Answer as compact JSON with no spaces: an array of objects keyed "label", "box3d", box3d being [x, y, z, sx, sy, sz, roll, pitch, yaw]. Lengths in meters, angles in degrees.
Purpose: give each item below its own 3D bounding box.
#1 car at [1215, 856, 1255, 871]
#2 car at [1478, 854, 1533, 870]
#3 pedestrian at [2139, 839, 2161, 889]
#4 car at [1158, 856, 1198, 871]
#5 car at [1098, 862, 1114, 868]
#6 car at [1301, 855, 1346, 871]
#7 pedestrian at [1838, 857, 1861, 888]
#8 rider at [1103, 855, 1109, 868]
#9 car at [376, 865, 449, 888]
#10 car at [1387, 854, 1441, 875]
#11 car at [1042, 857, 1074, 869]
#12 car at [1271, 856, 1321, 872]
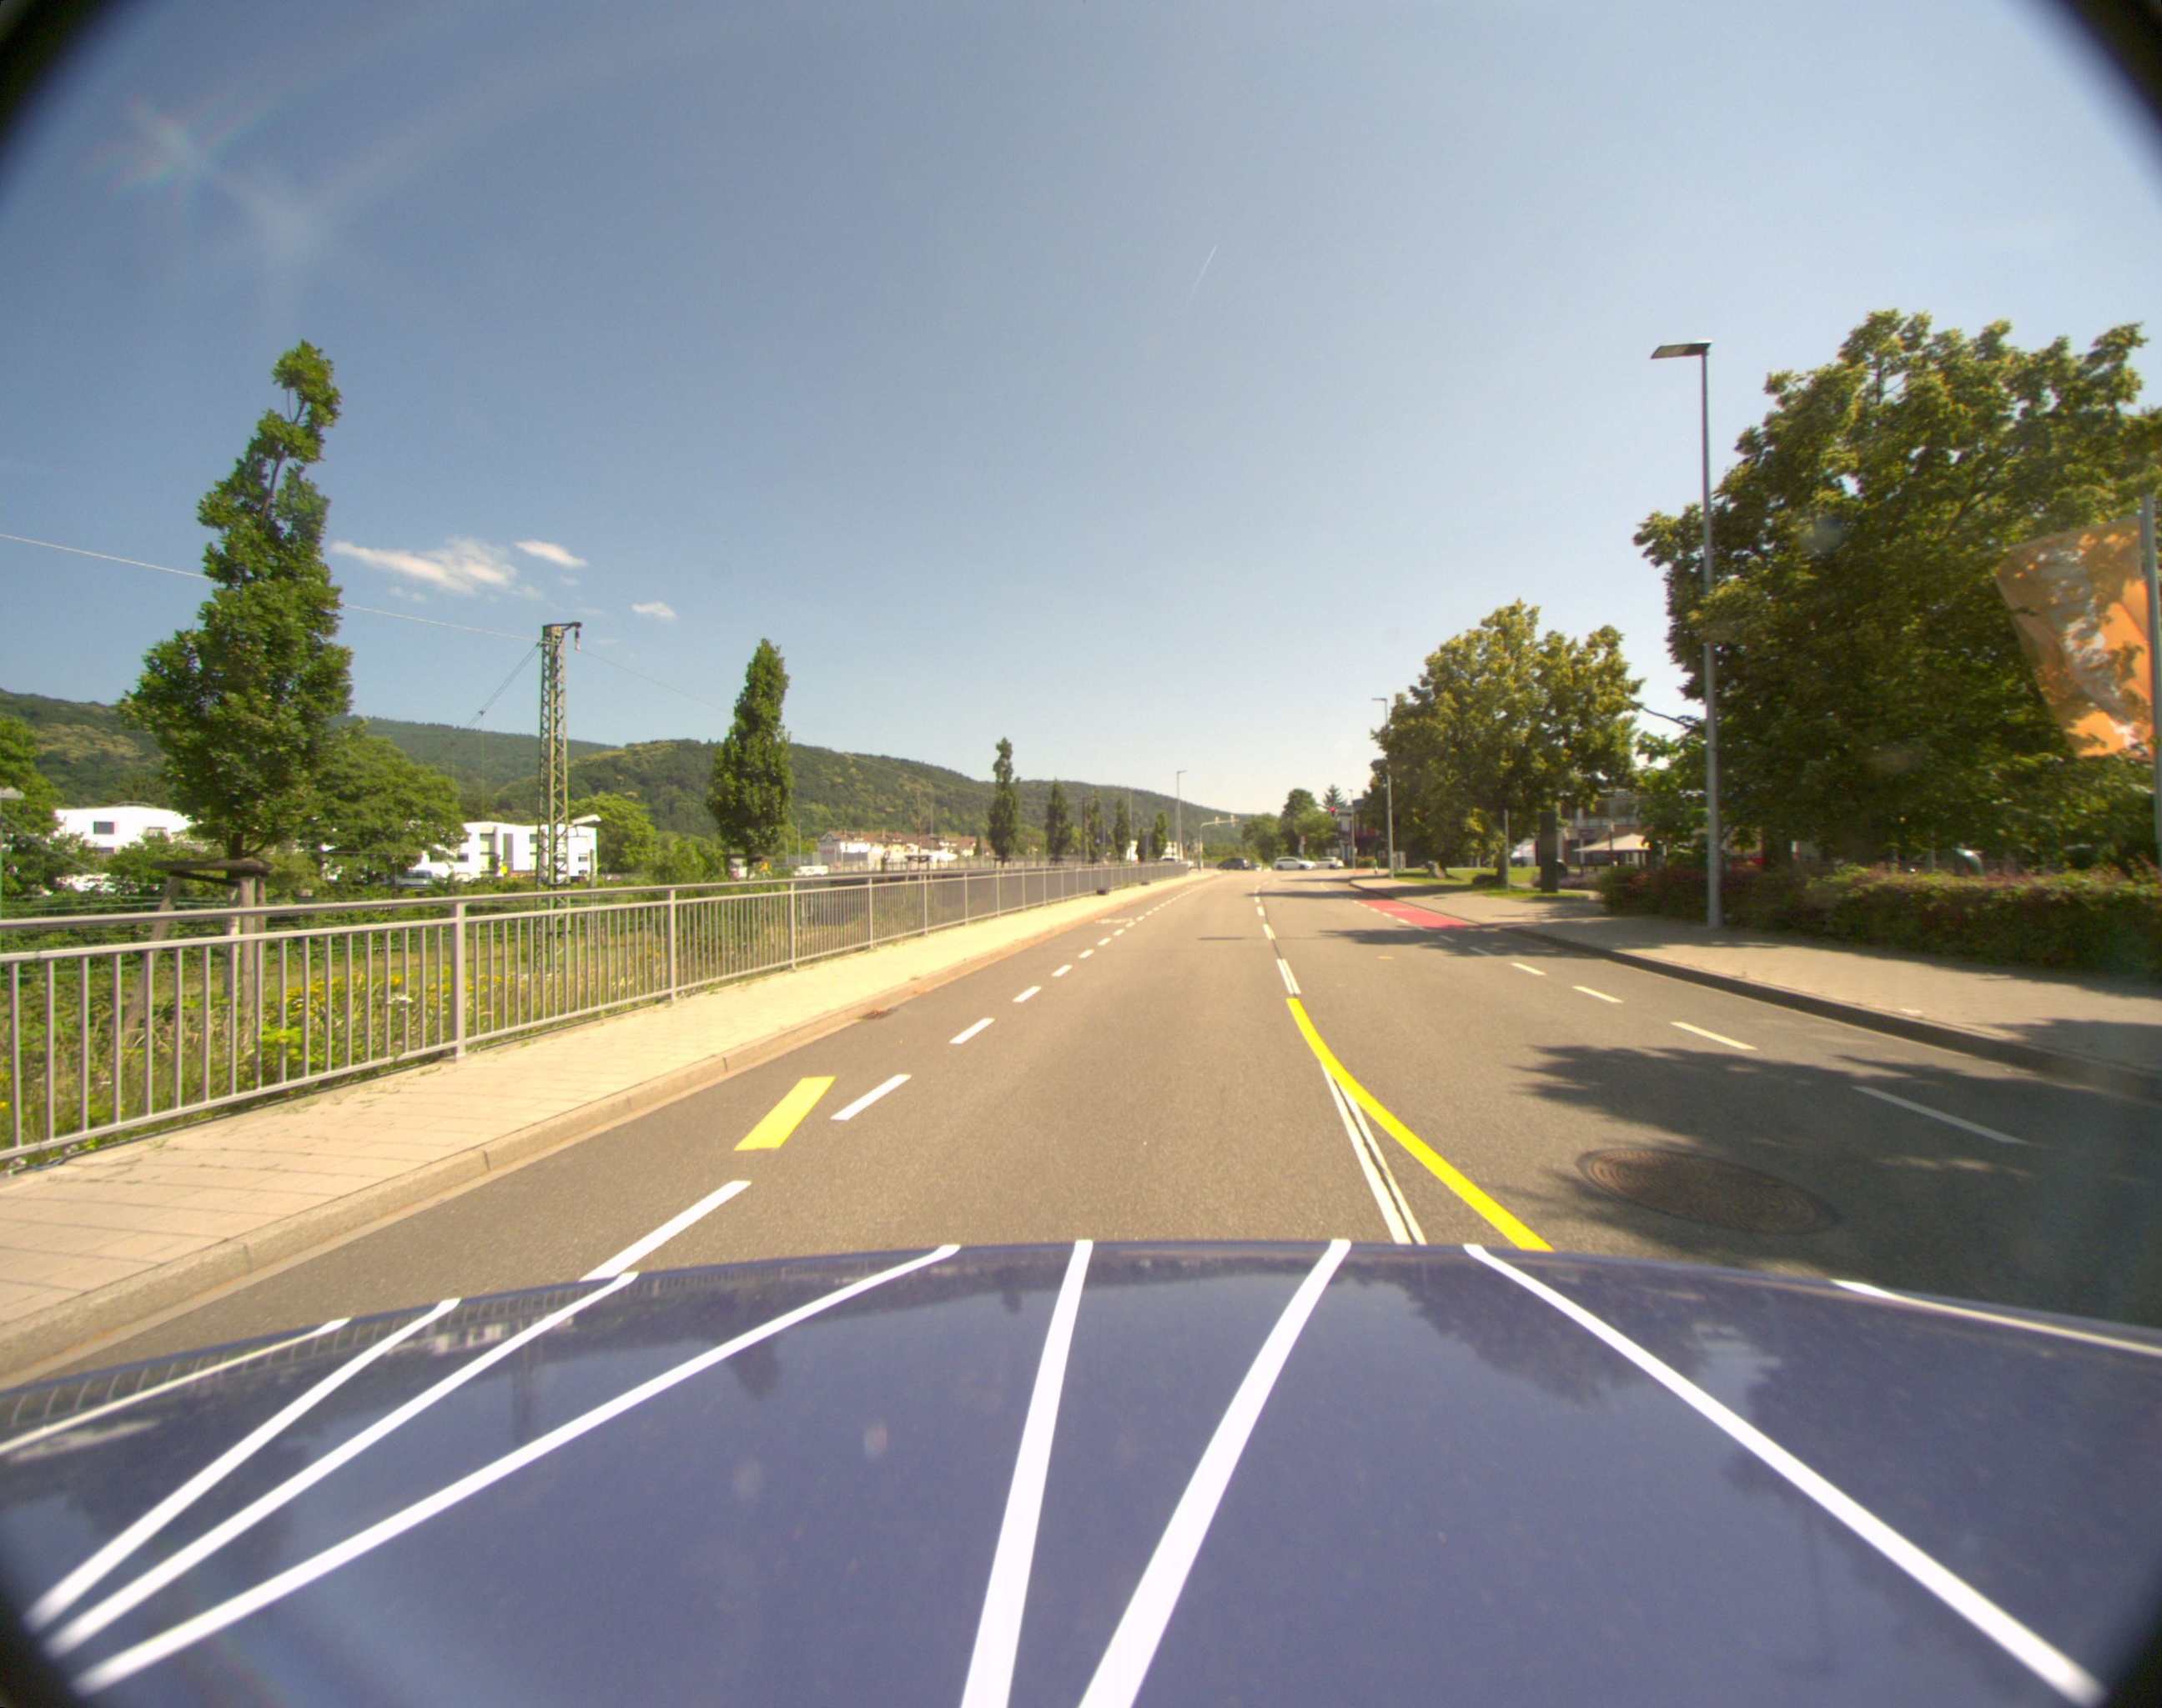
[{"label":"car","box3d":[18.633,1.114,91.947,4.358,1.617,1.835,-1,3,39]},{"label":"car","box3d":[41.297,0.811,73.986,4.358,1.338,1.835,-1,3,39]},{"label":"pedestrian","box3d":[34.388,0.309,24.185,0.571,1.558,0.597,-2,0,-2]},{"label":"car","box3d":[11.739,1.185,92.360,4.568,1.643,1.835,-1,3,42]},{"label":"car","box3d":[3.565,1.560,107.581,2.376,0.897,0.577,-1,3,39]},{"label":"car","box3d":[27.169,1.017,85.129,4.358,1.617,1.835,-1,3,39]},{"label":"pedestrian","box3d":[31.503,0.762,31.153,0.593,1.203,0.551,-6,-1,-45]},{"label":"rider","box3d":[3.548,1.101,107.550,0.684,1.803,0.549,-1,3,39]},{"label":"car","box3d":[-73.359,2.442,83.492,2.131,2.089,5.526,-6,-1,22]},{"label":"car","box3d":[32.331,1.054,73.791,4.358,1.839,1.835,-1,3,41]},{"label":"car","box3d":[-3.356,1.318,109.236,4.358,1.483,1.835,-1,3,39]},{"label":"car","box3d":[23.145,1.099,81.950,4.754,1.643,1.835,-1,3,43]}]
